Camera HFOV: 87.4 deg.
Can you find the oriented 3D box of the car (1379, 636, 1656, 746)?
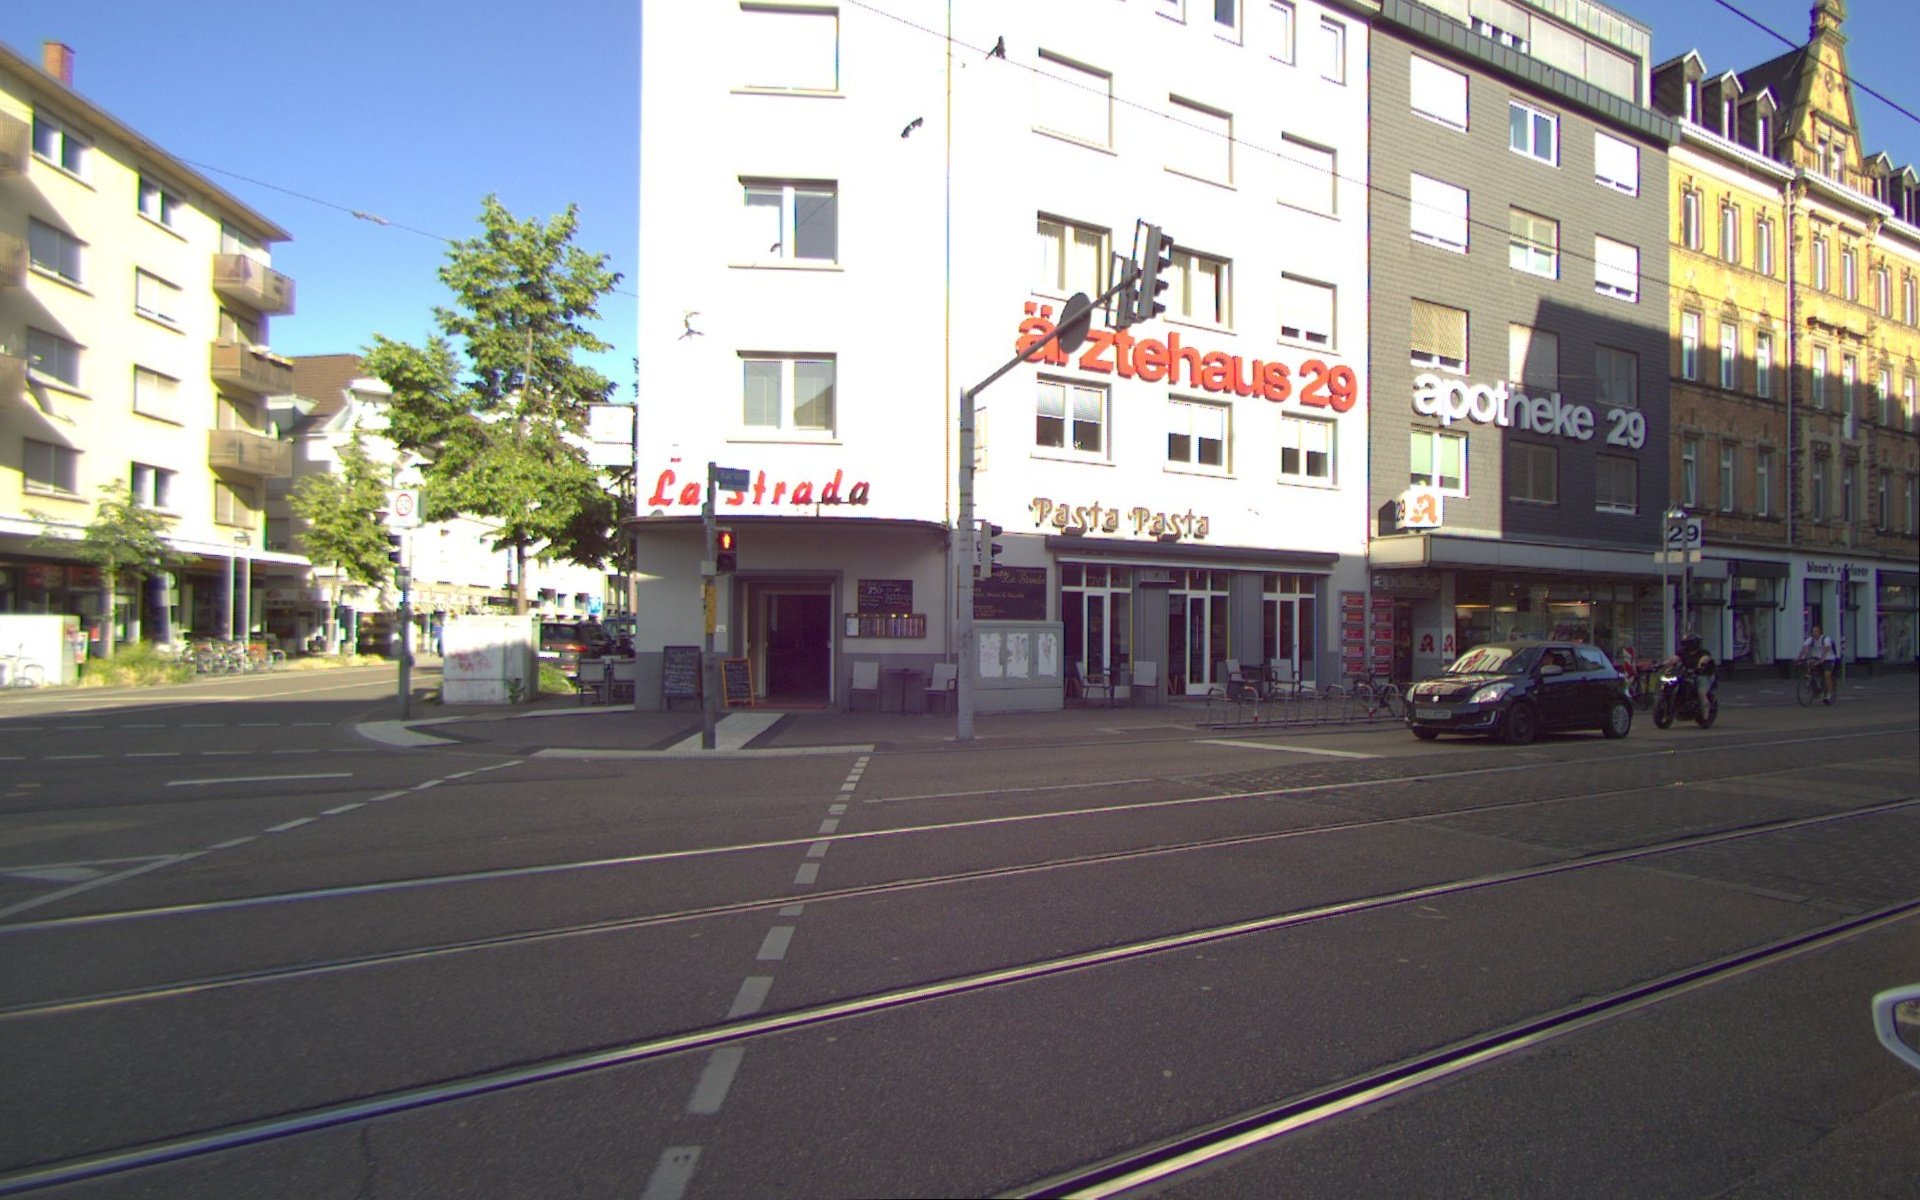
[{"bbox_3d":[8.531,1.326,15.323,4.086,1.464,1.707,1,-4,-28],"label":"car"}]

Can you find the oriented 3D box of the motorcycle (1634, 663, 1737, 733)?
[{"bbox_3d":[12.596,1.667,17.418,2.090,1.134,0.568,1,-3,-28],"label":"motorcycle"}]

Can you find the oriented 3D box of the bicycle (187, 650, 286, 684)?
[{"bbox_3d":[-21.990,2.042,30.578,2.356,0.990,0.654,0,-2,-14],"label":"bicycle"}]

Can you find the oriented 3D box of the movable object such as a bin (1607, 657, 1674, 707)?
[{"bbox_3d":[15.801,1.892,23.334,0.690,1.077,1.095,1,0,-27],"label":"movable object such as a bin"}]

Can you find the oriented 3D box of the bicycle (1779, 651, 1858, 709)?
[{"bbox_3d":[20.321,1.864,23.766,2.000,1.310,0.747,1,-2,-29],"label":"bicycle"}]

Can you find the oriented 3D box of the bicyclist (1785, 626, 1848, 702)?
[{"bbox_3d":[20.213,1.485,23.710,1.131,1.752,0.748,1,-2,-27],"label":"bicyclist"}]

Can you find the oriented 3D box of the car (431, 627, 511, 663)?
[{"bbox_3d":[-23.427,2.119,48.254,1.961,1.619,3.999,1,-2,-2],"label":"car"}]

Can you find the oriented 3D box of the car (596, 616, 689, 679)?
[{"bbox_3d":[-10.131,1.500,32.416,1.873,1.876,4.287,0,-2,-4],"label":"car"}]

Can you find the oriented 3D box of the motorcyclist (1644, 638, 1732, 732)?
[{"bbox_3d":[12.723,1.459,17.557,1.131,1.578,0.800,1,-3,-27],"label":"motorcyclist"}]

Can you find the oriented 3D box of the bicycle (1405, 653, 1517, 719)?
[{"bbox_3d":[10.160,1.714,20.443,0.765,1.188,1.923,1,0,-32],"label":"bicycle"}]

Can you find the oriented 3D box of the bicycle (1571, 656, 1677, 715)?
[{"bbox_3d":[14.798,1.888,22.428,0.545,1.206,1.924,1,-2,-31],"label":"bicycle"}]

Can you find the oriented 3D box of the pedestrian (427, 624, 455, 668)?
[{"bbox_3d":[-25.190,2.233,48.784,0.939,2.040,1.085,-3,0,-17],"label":"pedestrian"}]

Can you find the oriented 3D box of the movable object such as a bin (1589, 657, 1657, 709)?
[{"bbox_3d":[15.166,1.880,23.002,0.725,1.086,1.095,1,0,-27],"label":"movable object such as a bin"}]

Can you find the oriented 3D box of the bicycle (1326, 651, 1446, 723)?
[{"bbox_3d":[8.261,1.650,19.567,0.765,1.240,2.091,1,-1,-32],"label":"bicycle"}]

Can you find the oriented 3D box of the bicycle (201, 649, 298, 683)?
[{"bbox_3d":[-22.182,2.064,31.400,2.364,1.019,0.654,0,-2,-15],"label":"bicycle"}]

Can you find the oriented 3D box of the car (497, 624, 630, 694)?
[{"bbox_3d":[-10.102,1.471,25.976,1.969,1.658,4.287,0,-2,-4],"label":"car"}]

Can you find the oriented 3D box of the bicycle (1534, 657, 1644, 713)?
[{"bbox_3d":[13.983,1.864,22.378,0.765,1.125,1.924,1,-2,-32],"label":"bicycle"}]

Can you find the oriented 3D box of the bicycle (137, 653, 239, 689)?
[{"bbox_3d":[-21.889,2.002,28.531,2.190,0.971,0.654,0,-2,-17],"label":"bicycle"}]

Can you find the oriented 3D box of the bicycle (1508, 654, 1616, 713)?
[{"bbox_3d":[13.188,1.806,22.063,0.765,1.167,1.923,1,-1,-32],"label":"bicycle"}]

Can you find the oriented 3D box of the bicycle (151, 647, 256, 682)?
[{"bbox_3d":[-22.000,1.863,29.254,2.365,0.971,0.543,0,-2,-17],"label":"bicycle"}]
